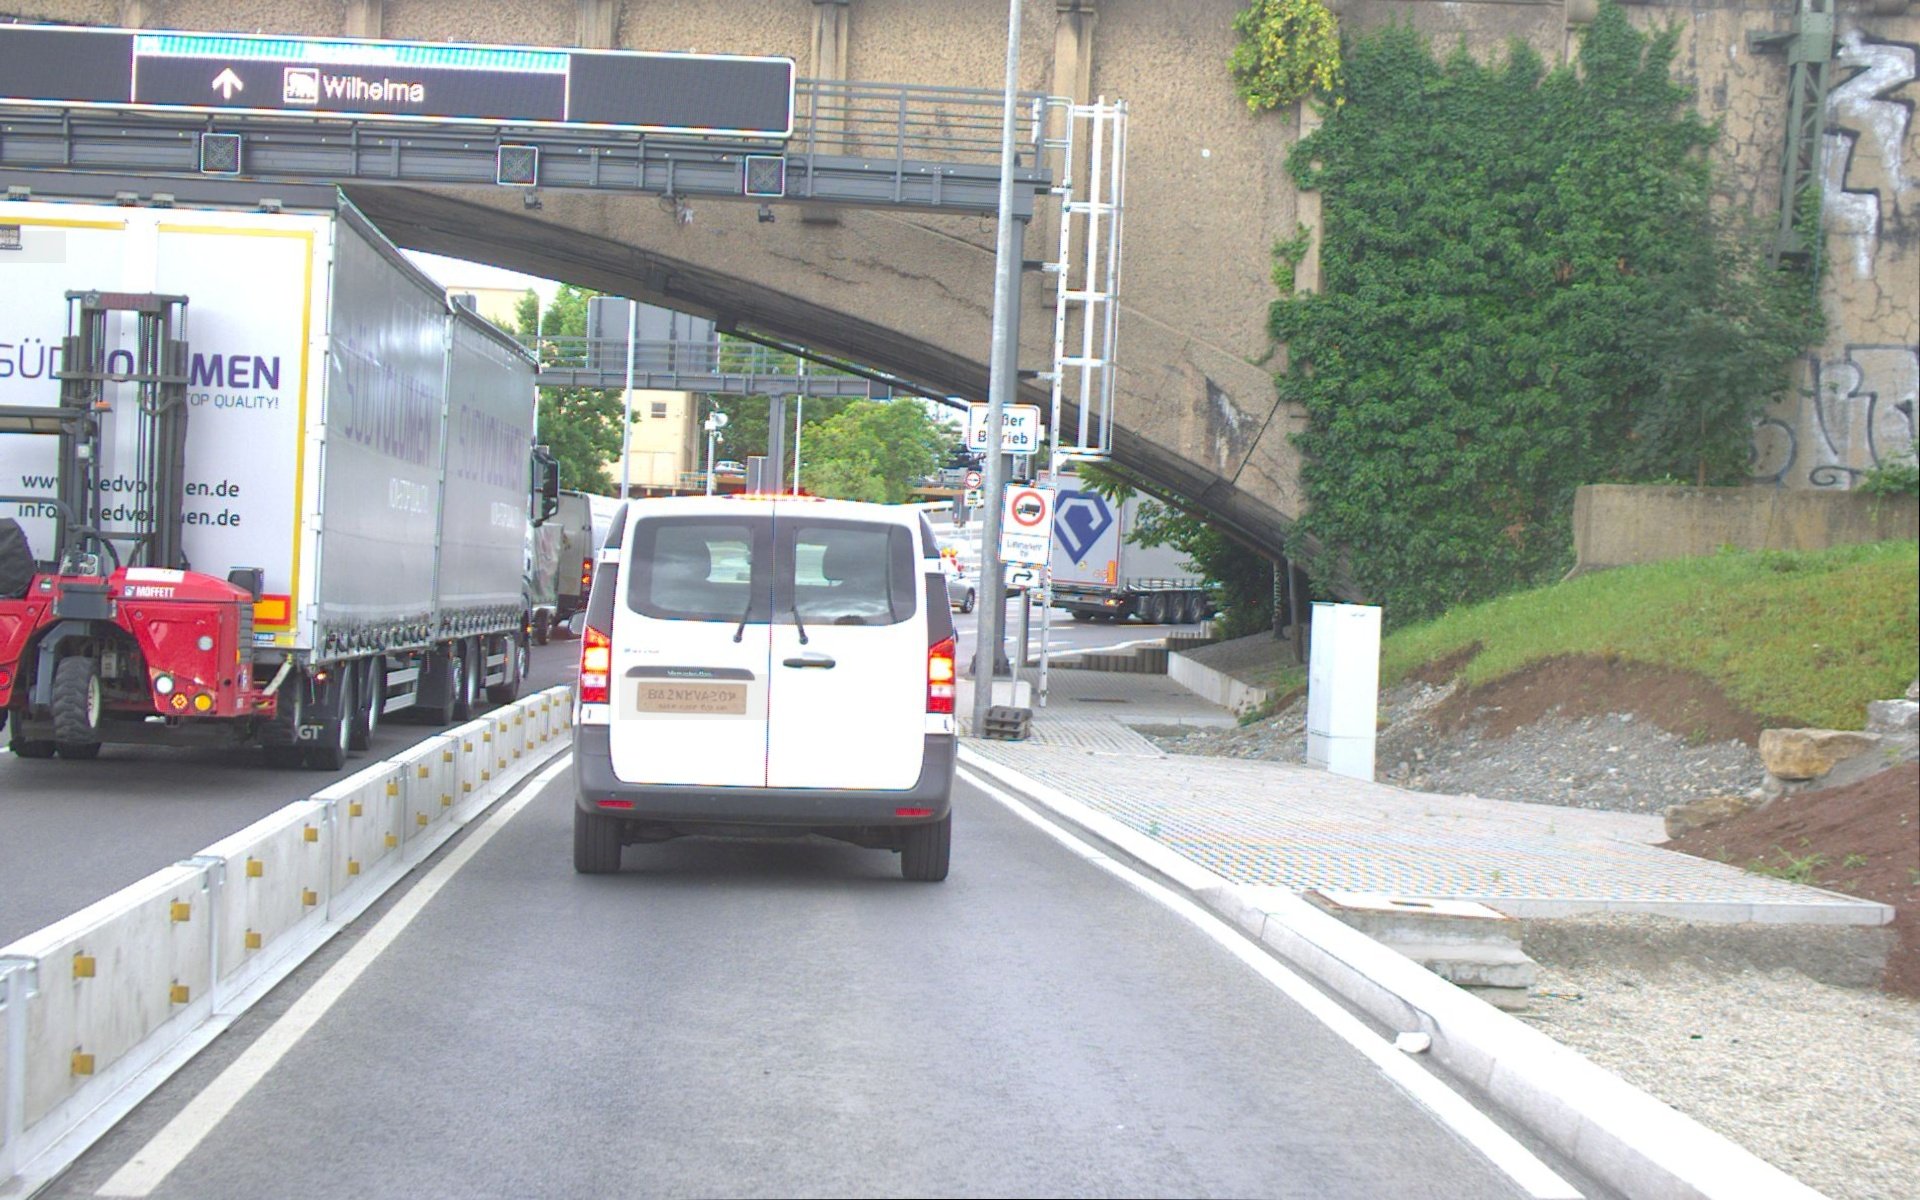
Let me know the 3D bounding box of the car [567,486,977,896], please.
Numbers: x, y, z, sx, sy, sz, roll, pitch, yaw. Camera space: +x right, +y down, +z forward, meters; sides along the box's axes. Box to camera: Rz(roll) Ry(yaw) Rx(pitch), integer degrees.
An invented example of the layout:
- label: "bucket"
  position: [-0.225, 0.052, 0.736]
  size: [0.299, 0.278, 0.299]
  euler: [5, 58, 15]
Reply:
- label: "car"
  position: [-1.134, 0.405, 18.473]
  size: [1.876, 1.884, 4.754]
  euler: [1, 0, -6]

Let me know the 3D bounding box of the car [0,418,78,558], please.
- label: "car"
  position: [-20.082, -2.271, 68.631]
  size: [2.216, 2.767, 6.142]
  euler: [2, 1, 12]

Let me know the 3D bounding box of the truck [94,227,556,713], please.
- label: "truck"
  position: [-6.331, -1.250, 36.338]
  size: [2.987, 4.162, 11.242]
  euler: [3, 1, -2]

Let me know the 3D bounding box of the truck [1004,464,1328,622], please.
- label: "truck"
  position: [6.081, -1.428, 95.915]
  size: [3.321, 3.796, 16.572]
  euler: [5, 2, 23]

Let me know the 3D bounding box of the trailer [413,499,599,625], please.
- label: "trailer"
  position: [-7.841, -0.668, 59.764]
  size: [1.994, 1.951, 4.077]
  euler: [5, 2, 9]

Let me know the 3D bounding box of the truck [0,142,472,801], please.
- label: "truck"
  position: [-5.787, -0.915, 26.596]
  size: [2.917, 4.003, 10.202]
  euler: [3, 1, -3]

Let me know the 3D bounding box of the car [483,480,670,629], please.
- label: "car"
  position: [-7.109, -0.860, 64.306]
  size: [1.994, 2.533, 5.172]
  euler: [5, 2, 9]
